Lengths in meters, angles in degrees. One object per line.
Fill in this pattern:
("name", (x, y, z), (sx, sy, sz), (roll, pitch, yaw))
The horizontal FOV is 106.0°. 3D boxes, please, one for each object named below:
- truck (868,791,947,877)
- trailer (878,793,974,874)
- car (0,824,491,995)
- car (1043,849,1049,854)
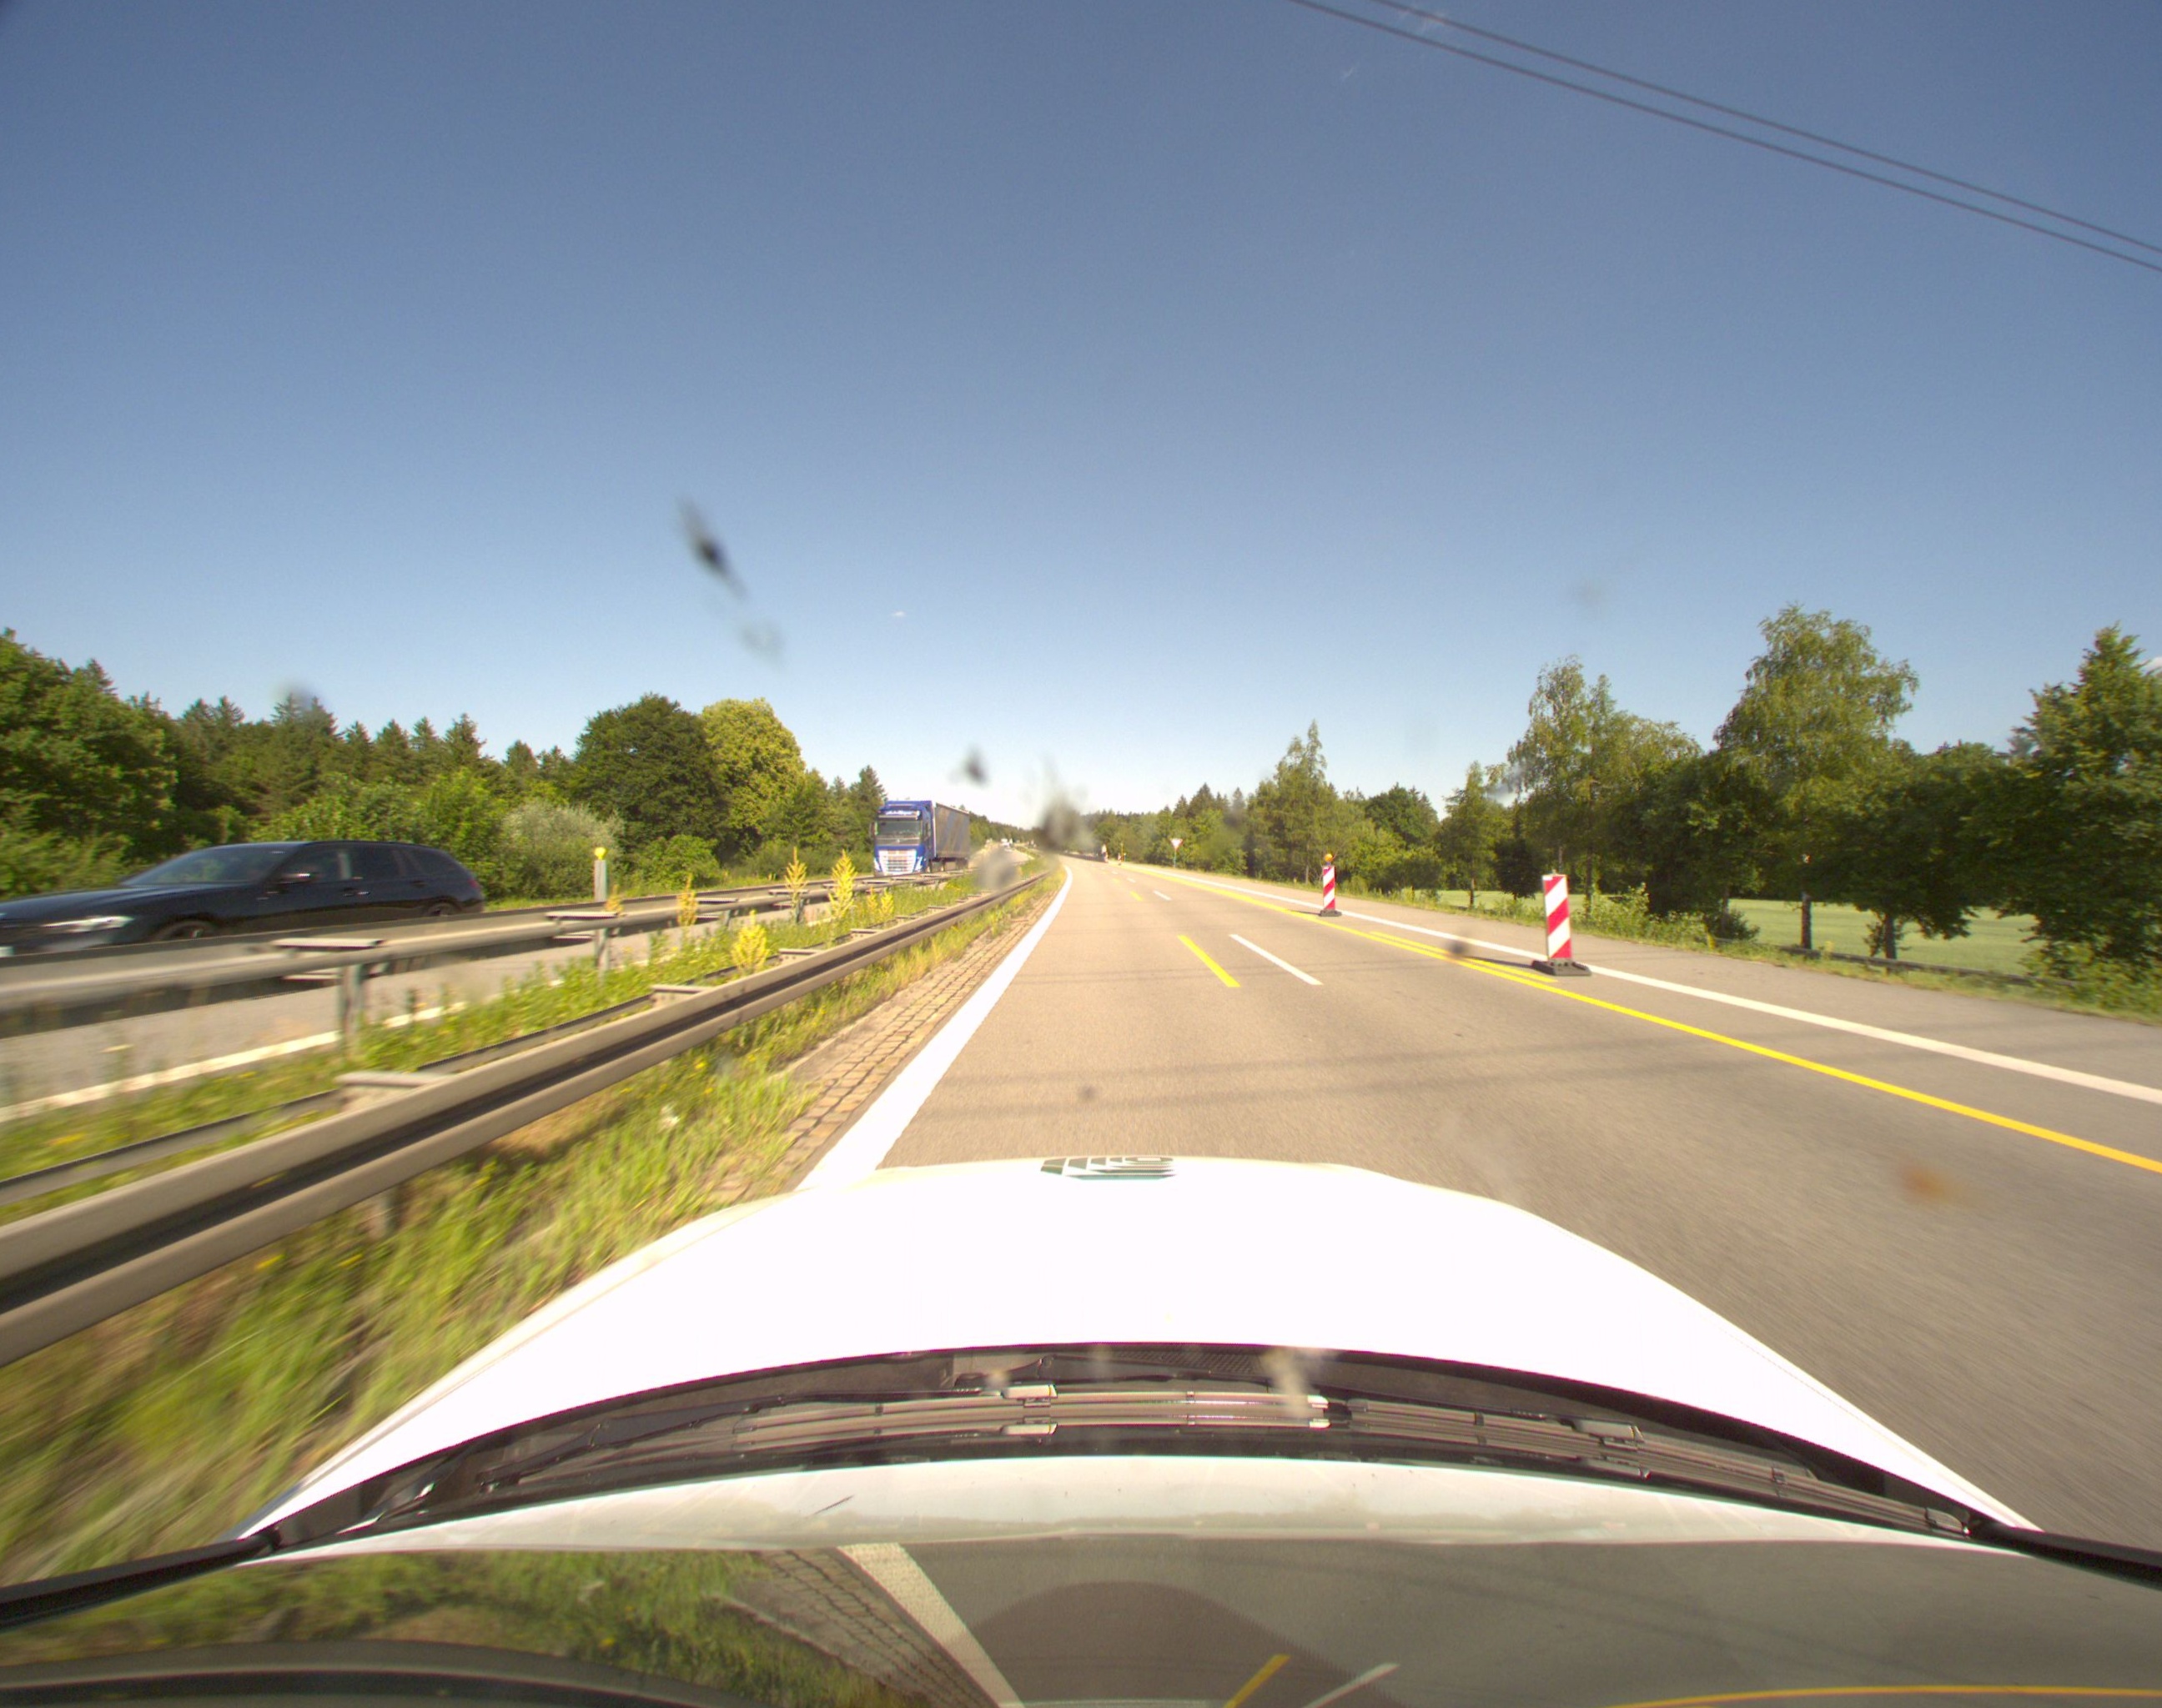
("truck", (-8.534, -0.917, 40.723), (2.623, 3.959, 5.842), (0, 0, 0))
("trailer", (-8.509, -1.056, 46.840), (2.670, 3.954, 13.770), (0, 1, 1))
("car", (-9.054, 0.482, 9.064), (1.771, 1.429, 4.270), (-1, 0, 1))
("car", (-10.884, -0.761, 253.370), (1.741, 1.466, 4.285), (2, 1, -6))
